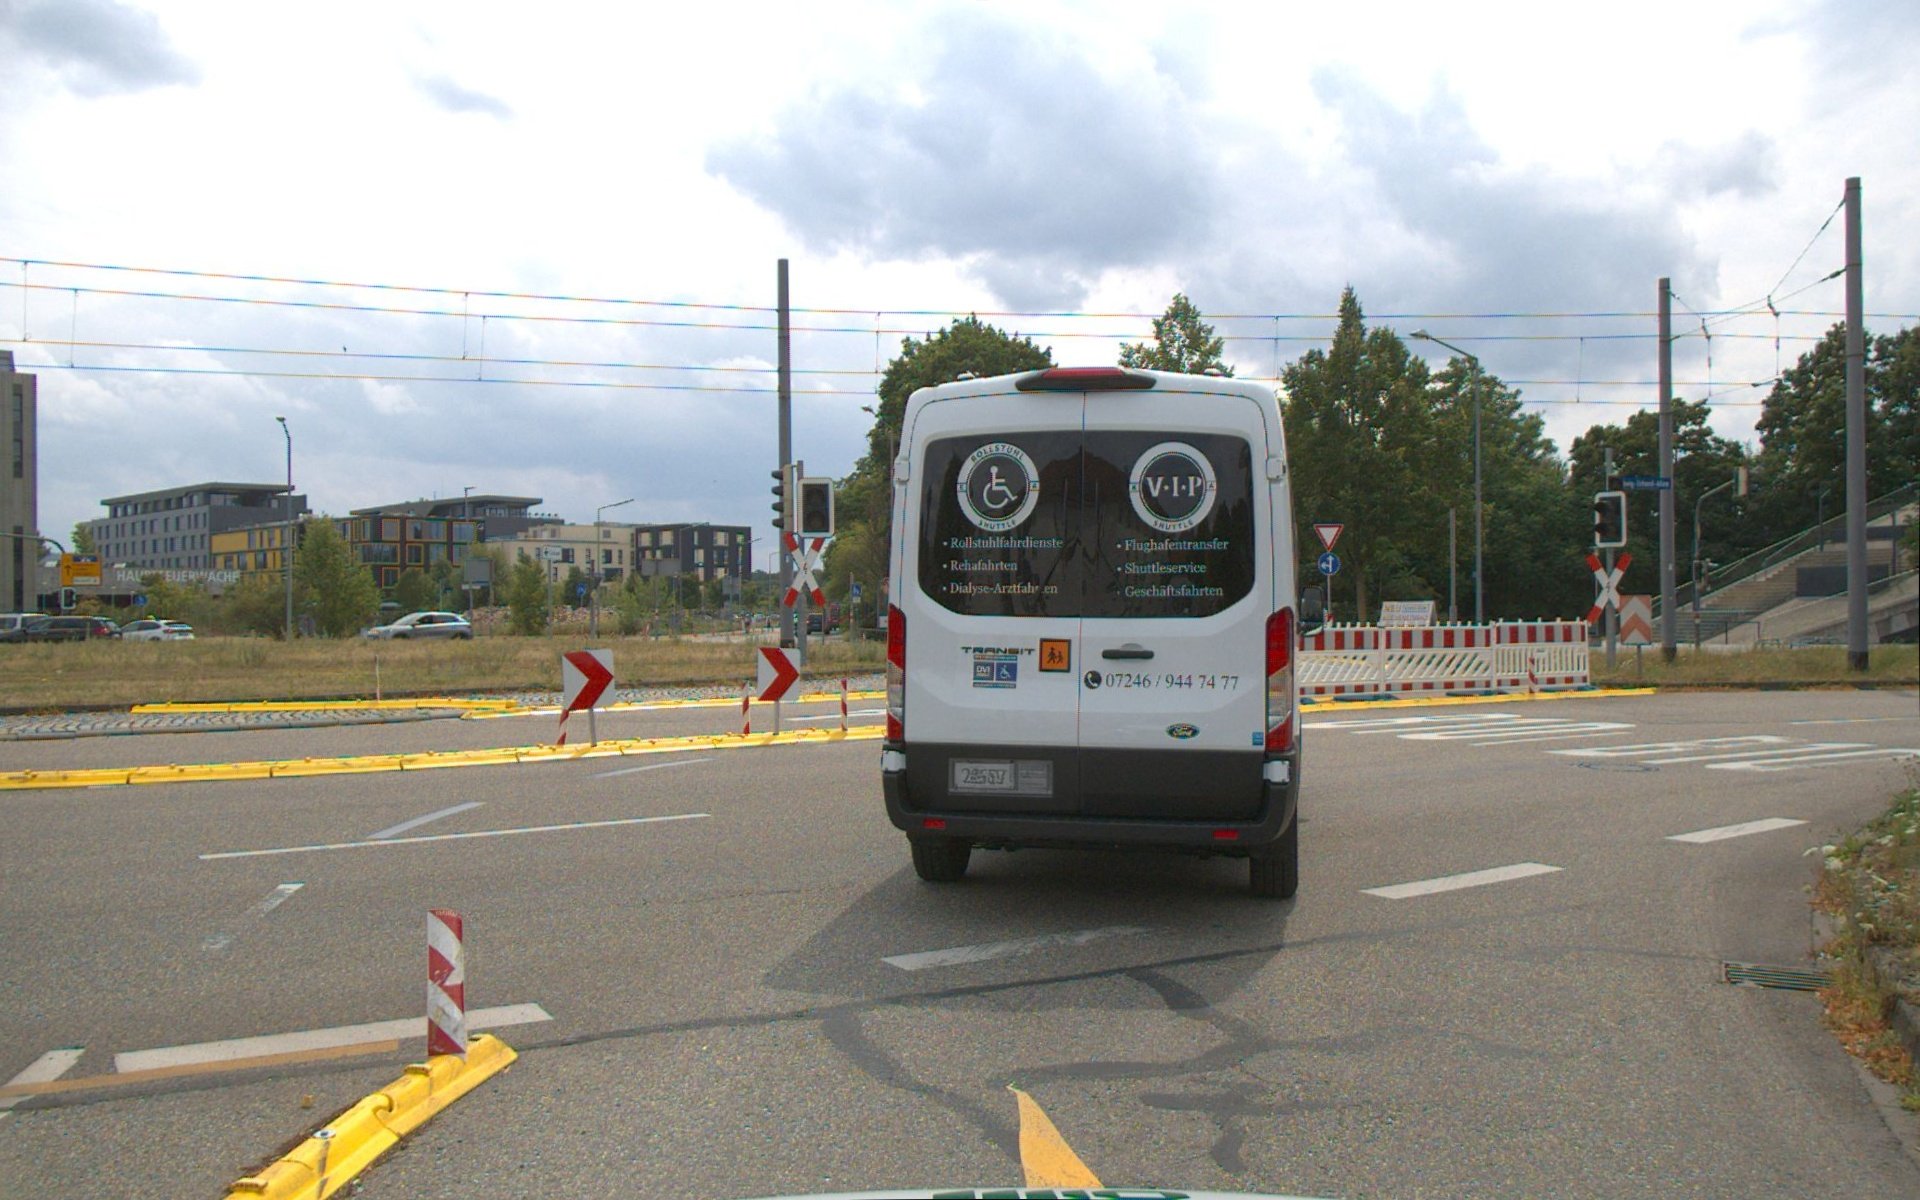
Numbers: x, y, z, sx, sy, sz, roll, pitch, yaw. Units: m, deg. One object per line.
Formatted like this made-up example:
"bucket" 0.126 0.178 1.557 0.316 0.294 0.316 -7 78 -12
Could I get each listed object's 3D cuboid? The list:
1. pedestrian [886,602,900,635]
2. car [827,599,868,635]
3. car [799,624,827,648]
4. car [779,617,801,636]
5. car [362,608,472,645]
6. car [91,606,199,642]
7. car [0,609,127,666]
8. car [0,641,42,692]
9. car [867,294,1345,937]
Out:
"pedestrian" -3.272 0.888 81.075 0.438 1.622 0.671 0 0 23
"car" -6.731 1.049 98.690 1.958 2.049 3.989 1 -2 -11
"car" -11.850 2.956 133.753 1.953 1.881 3.998 0 -2 -1
"car" -17.069 2.691 166.287 1.953 1.881 3.998 0 -2 -2
"car" -22.509 1.086 68.650 3.964 1.489 1.806 1 -2 -41
"car" -35.261 1.052 71.571 3.902 1.489 1.834 0 -2 14
"car" -33.610 1.421 62.116 3.931 2.049 1.987 1 -2 -22
"car" -40.451 2.740 68.731 4.263 2.049 1.997 -1 -2 27
"car" 1.128 0.090 10.022 2.081 2.745 5.636 0 -1 11
